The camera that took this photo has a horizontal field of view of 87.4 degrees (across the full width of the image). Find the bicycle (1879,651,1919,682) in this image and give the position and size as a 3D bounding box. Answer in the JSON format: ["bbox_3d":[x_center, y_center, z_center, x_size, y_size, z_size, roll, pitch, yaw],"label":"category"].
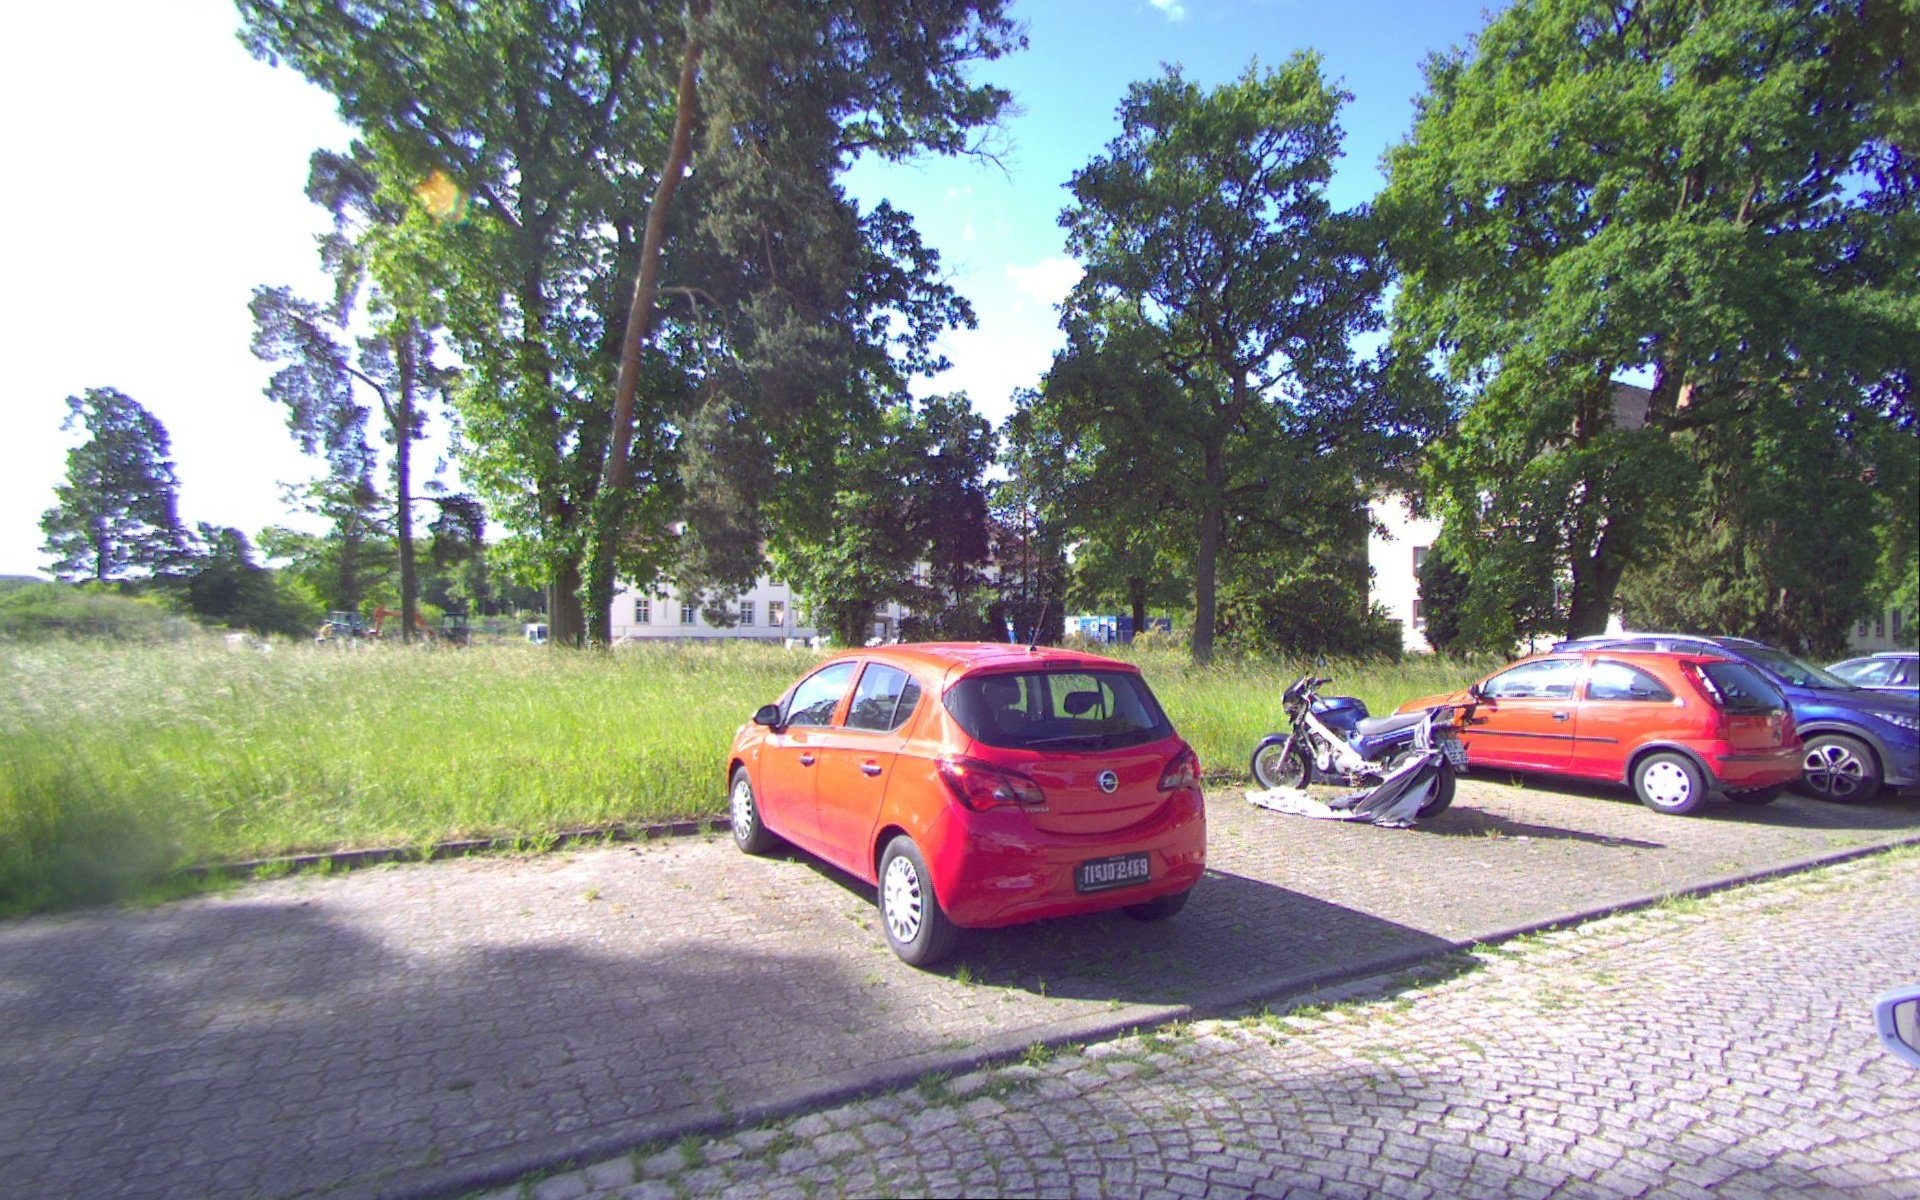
[{"bbox_3d":[36.507,2.542,38.466,1.892,1.117,0.567,-1,-1,42],"label":"bicycle"}]

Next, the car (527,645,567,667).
[{"bbox_3d":[-36.182,4.901,87.997,1.980,1.878,4.088,2,-3,-41],"label":"car"}]

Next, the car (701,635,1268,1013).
[{"bbox_3d":[-0.187,1.006,6.337,1.820,1.480,3.904,1,-1,-30],"label":"car"}]

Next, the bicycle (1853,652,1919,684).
[{"bbox_3d":[34.461,2.525,37.298,1.887,1.117,0.569,-1,-1,33],"label":"bicycle"}]

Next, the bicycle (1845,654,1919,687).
[{"bbox_3d":[33.192,2.533,36.197,1.889,1.117,0.568,-2,-1,37],"label":"bicycle"}]

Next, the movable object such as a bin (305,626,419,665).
[{"bbox_3d":[-34.553,2.634,58.084,5.566,2.153,2.530,-1,-3,17],"label":"movable object such as a bin"}]

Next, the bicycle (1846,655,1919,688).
[{"bbox_3d":[32.870,2.521,35.765,1.889,1.117,0.568,-2,-1,37],"label":"bicycle"}]

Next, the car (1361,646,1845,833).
[{"bbox_3d":[6.411,1.255,10.508,1.819,1.452,3.908,1,-1,-28],"label":"car"}]

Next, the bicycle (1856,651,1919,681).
[{"bbox_3d":[37.199,2.623,40.217,1.889,1.117,0.568,-1,-1,38],"label":"bicycle"}]

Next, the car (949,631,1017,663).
[{"bbox_3d":[1.853,3.716,80.081,5.212,2.468,1.976,2,-3,-29],"label":"car"}]

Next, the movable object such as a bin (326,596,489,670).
[{"bbox_3d":[-29.990,1.852,54.754,3.868,3.780,6.767,-2,-3,37],"label":"movable object such as a bin"}]

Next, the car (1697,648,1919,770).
[{"bbox_3d":[12.773,1.431,13.438,1.895,1.464,4.346,1,-1,-26],"label":"car"}]

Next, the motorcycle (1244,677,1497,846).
[{"bbox_3d":[3.505,1.324,8.832,0.569,1.177,2.234,1,-2,-27],"label":"motorcycle"}]

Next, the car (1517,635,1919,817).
[{"bbox_3d":[8.740,1.222,11.179,1.861,1.600,4.118,1,-1,-29],"label":"car"}]
